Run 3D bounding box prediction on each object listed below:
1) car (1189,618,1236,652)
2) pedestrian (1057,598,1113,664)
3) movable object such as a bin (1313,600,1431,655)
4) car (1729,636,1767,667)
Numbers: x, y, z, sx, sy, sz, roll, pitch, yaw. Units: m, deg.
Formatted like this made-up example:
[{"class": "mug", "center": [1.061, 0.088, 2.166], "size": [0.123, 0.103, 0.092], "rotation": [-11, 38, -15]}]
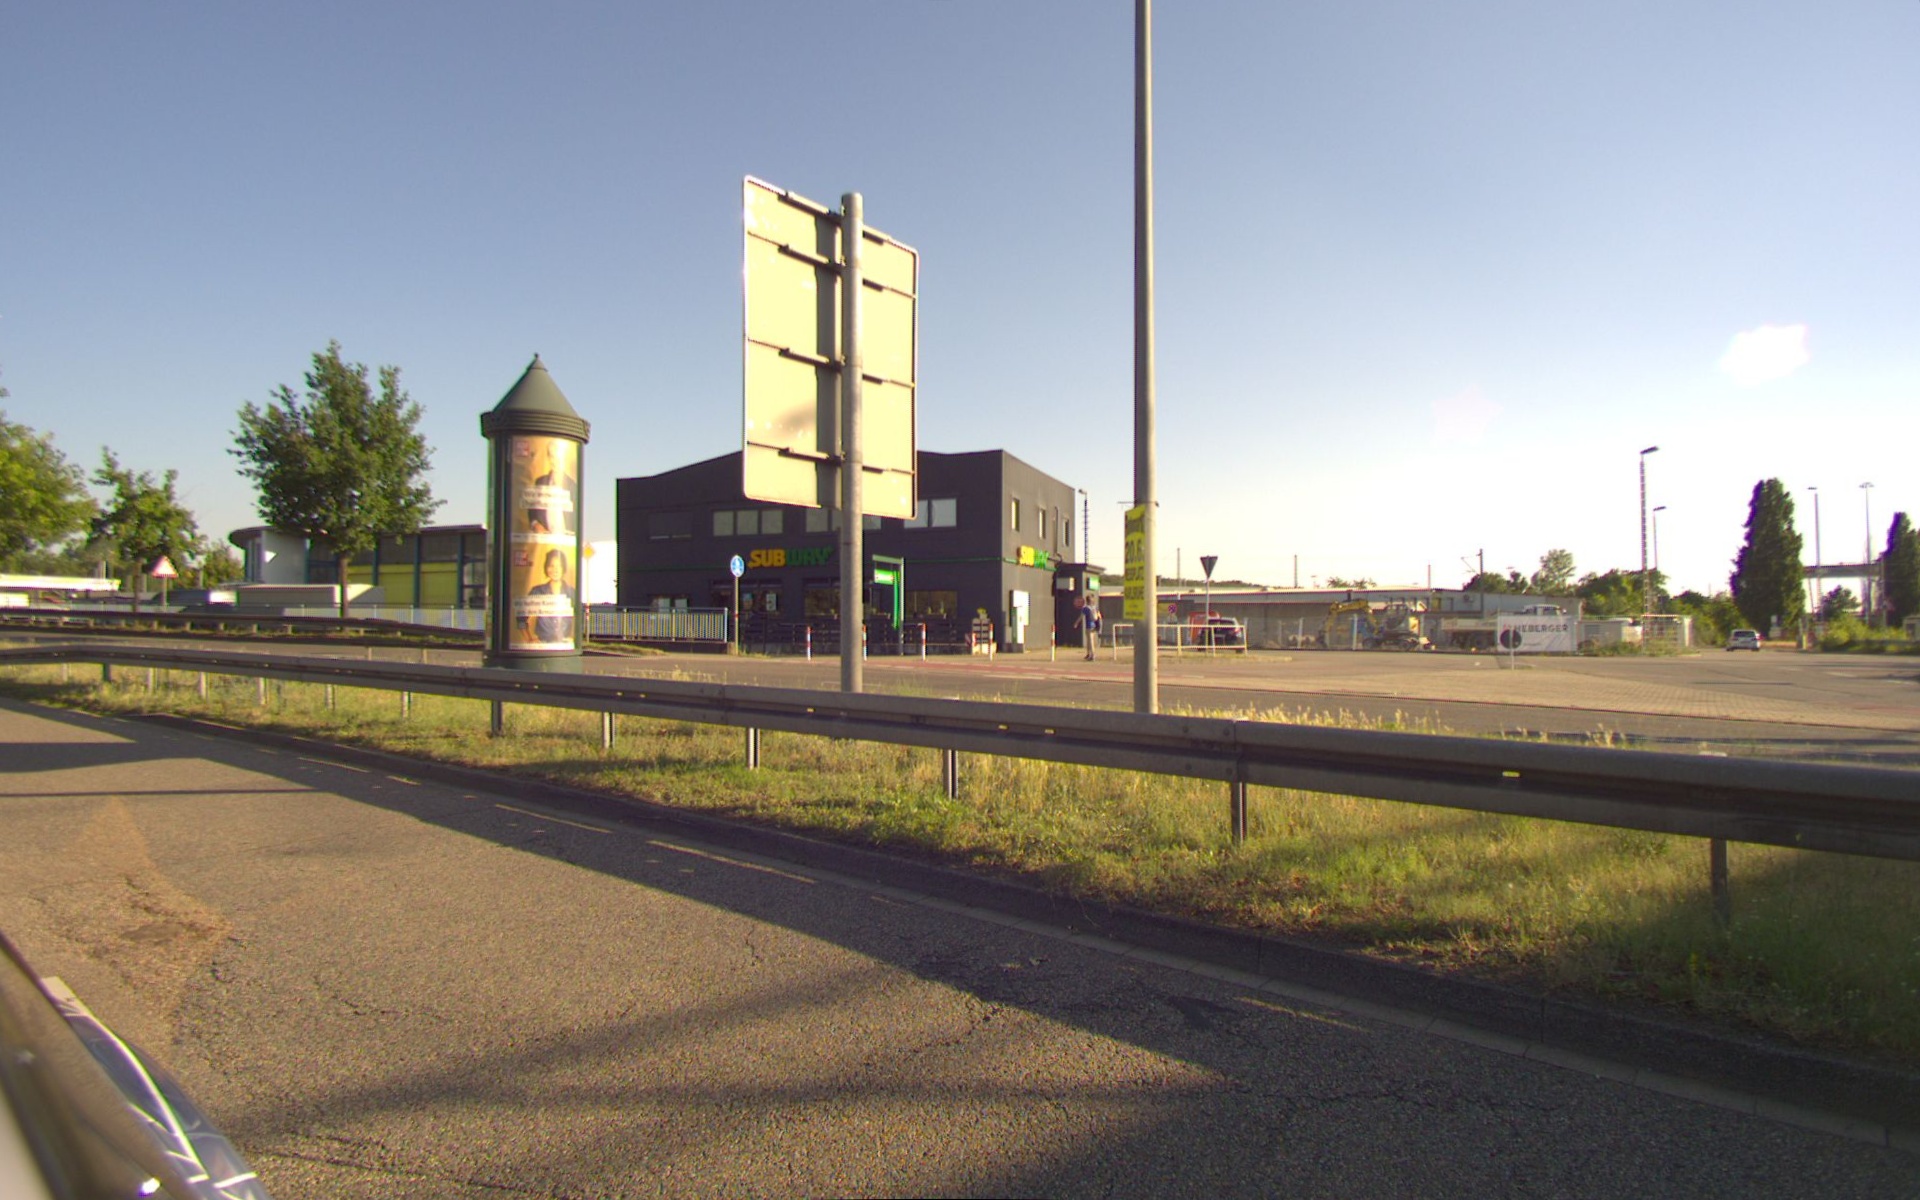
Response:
[{"class": "car", "center": [15.998, 2.180, 64.091], "size": [1.991, 2.029, 3.962], "rotation": [-1, 0, 28]}, {"class": "pedestrian", "center": [3.650, 0.891, 29.430], "size": [1.085, 1.849, 1.258], "rotation": [-1, 0, 42]}, {"class": "movable object such as a bin", "center": [25.338, 1.642, 62.389], "size": [6.587, 3.241, 2.428], "rotation": [-1, 0, 23]}, {"class": "car", "center": [59.093, 3.835, 75.952], "size": [1.996, 2.029, 3.952], "rotation": [-1, 0, 35]}]
